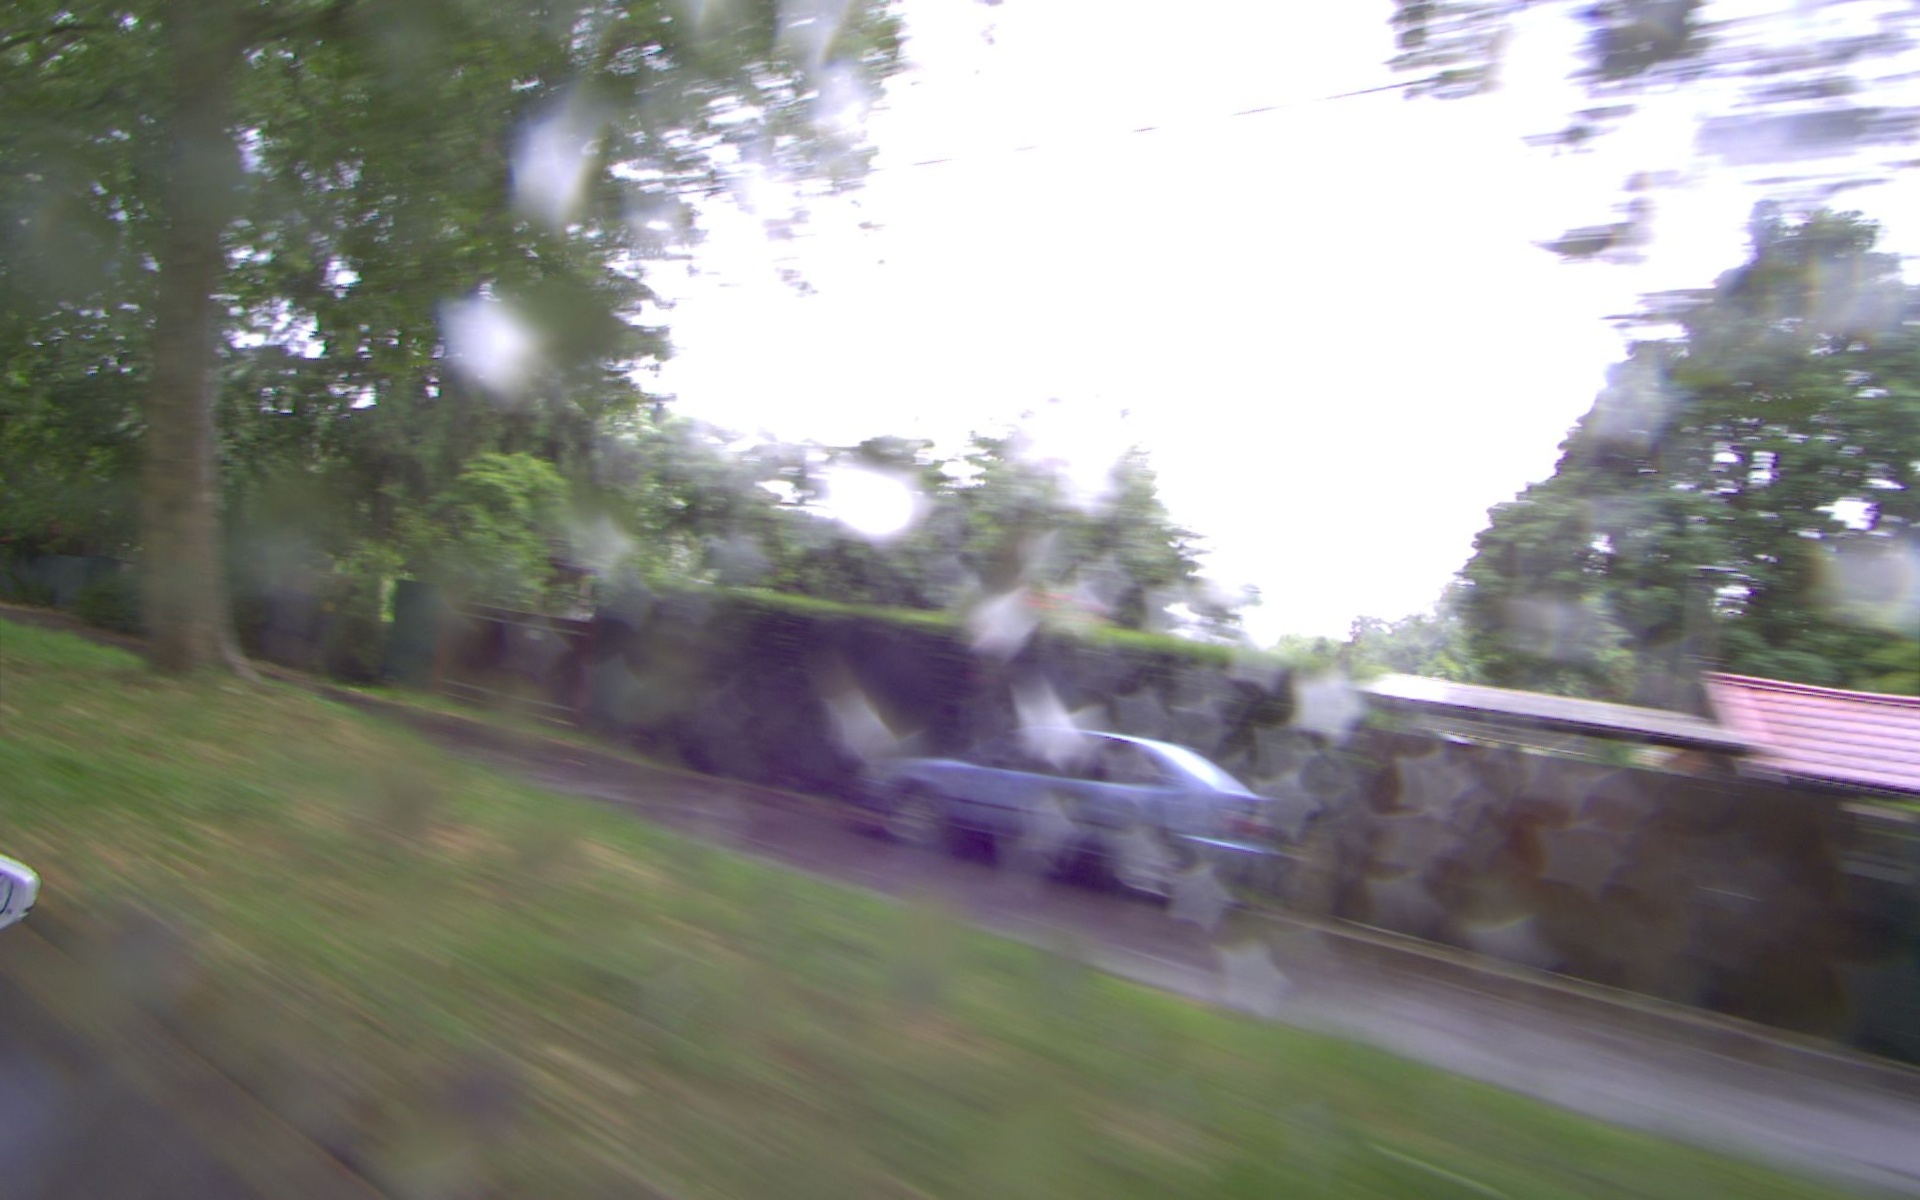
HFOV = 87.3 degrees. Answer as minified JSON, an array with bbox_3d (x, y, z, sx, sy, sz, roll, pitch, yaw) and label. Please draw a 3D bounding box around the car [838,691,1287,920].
[{"bbox_3d":[1.004,1.930,10.007,3.931,1.337,1.805,6,-7,28],"label":"car"}]
